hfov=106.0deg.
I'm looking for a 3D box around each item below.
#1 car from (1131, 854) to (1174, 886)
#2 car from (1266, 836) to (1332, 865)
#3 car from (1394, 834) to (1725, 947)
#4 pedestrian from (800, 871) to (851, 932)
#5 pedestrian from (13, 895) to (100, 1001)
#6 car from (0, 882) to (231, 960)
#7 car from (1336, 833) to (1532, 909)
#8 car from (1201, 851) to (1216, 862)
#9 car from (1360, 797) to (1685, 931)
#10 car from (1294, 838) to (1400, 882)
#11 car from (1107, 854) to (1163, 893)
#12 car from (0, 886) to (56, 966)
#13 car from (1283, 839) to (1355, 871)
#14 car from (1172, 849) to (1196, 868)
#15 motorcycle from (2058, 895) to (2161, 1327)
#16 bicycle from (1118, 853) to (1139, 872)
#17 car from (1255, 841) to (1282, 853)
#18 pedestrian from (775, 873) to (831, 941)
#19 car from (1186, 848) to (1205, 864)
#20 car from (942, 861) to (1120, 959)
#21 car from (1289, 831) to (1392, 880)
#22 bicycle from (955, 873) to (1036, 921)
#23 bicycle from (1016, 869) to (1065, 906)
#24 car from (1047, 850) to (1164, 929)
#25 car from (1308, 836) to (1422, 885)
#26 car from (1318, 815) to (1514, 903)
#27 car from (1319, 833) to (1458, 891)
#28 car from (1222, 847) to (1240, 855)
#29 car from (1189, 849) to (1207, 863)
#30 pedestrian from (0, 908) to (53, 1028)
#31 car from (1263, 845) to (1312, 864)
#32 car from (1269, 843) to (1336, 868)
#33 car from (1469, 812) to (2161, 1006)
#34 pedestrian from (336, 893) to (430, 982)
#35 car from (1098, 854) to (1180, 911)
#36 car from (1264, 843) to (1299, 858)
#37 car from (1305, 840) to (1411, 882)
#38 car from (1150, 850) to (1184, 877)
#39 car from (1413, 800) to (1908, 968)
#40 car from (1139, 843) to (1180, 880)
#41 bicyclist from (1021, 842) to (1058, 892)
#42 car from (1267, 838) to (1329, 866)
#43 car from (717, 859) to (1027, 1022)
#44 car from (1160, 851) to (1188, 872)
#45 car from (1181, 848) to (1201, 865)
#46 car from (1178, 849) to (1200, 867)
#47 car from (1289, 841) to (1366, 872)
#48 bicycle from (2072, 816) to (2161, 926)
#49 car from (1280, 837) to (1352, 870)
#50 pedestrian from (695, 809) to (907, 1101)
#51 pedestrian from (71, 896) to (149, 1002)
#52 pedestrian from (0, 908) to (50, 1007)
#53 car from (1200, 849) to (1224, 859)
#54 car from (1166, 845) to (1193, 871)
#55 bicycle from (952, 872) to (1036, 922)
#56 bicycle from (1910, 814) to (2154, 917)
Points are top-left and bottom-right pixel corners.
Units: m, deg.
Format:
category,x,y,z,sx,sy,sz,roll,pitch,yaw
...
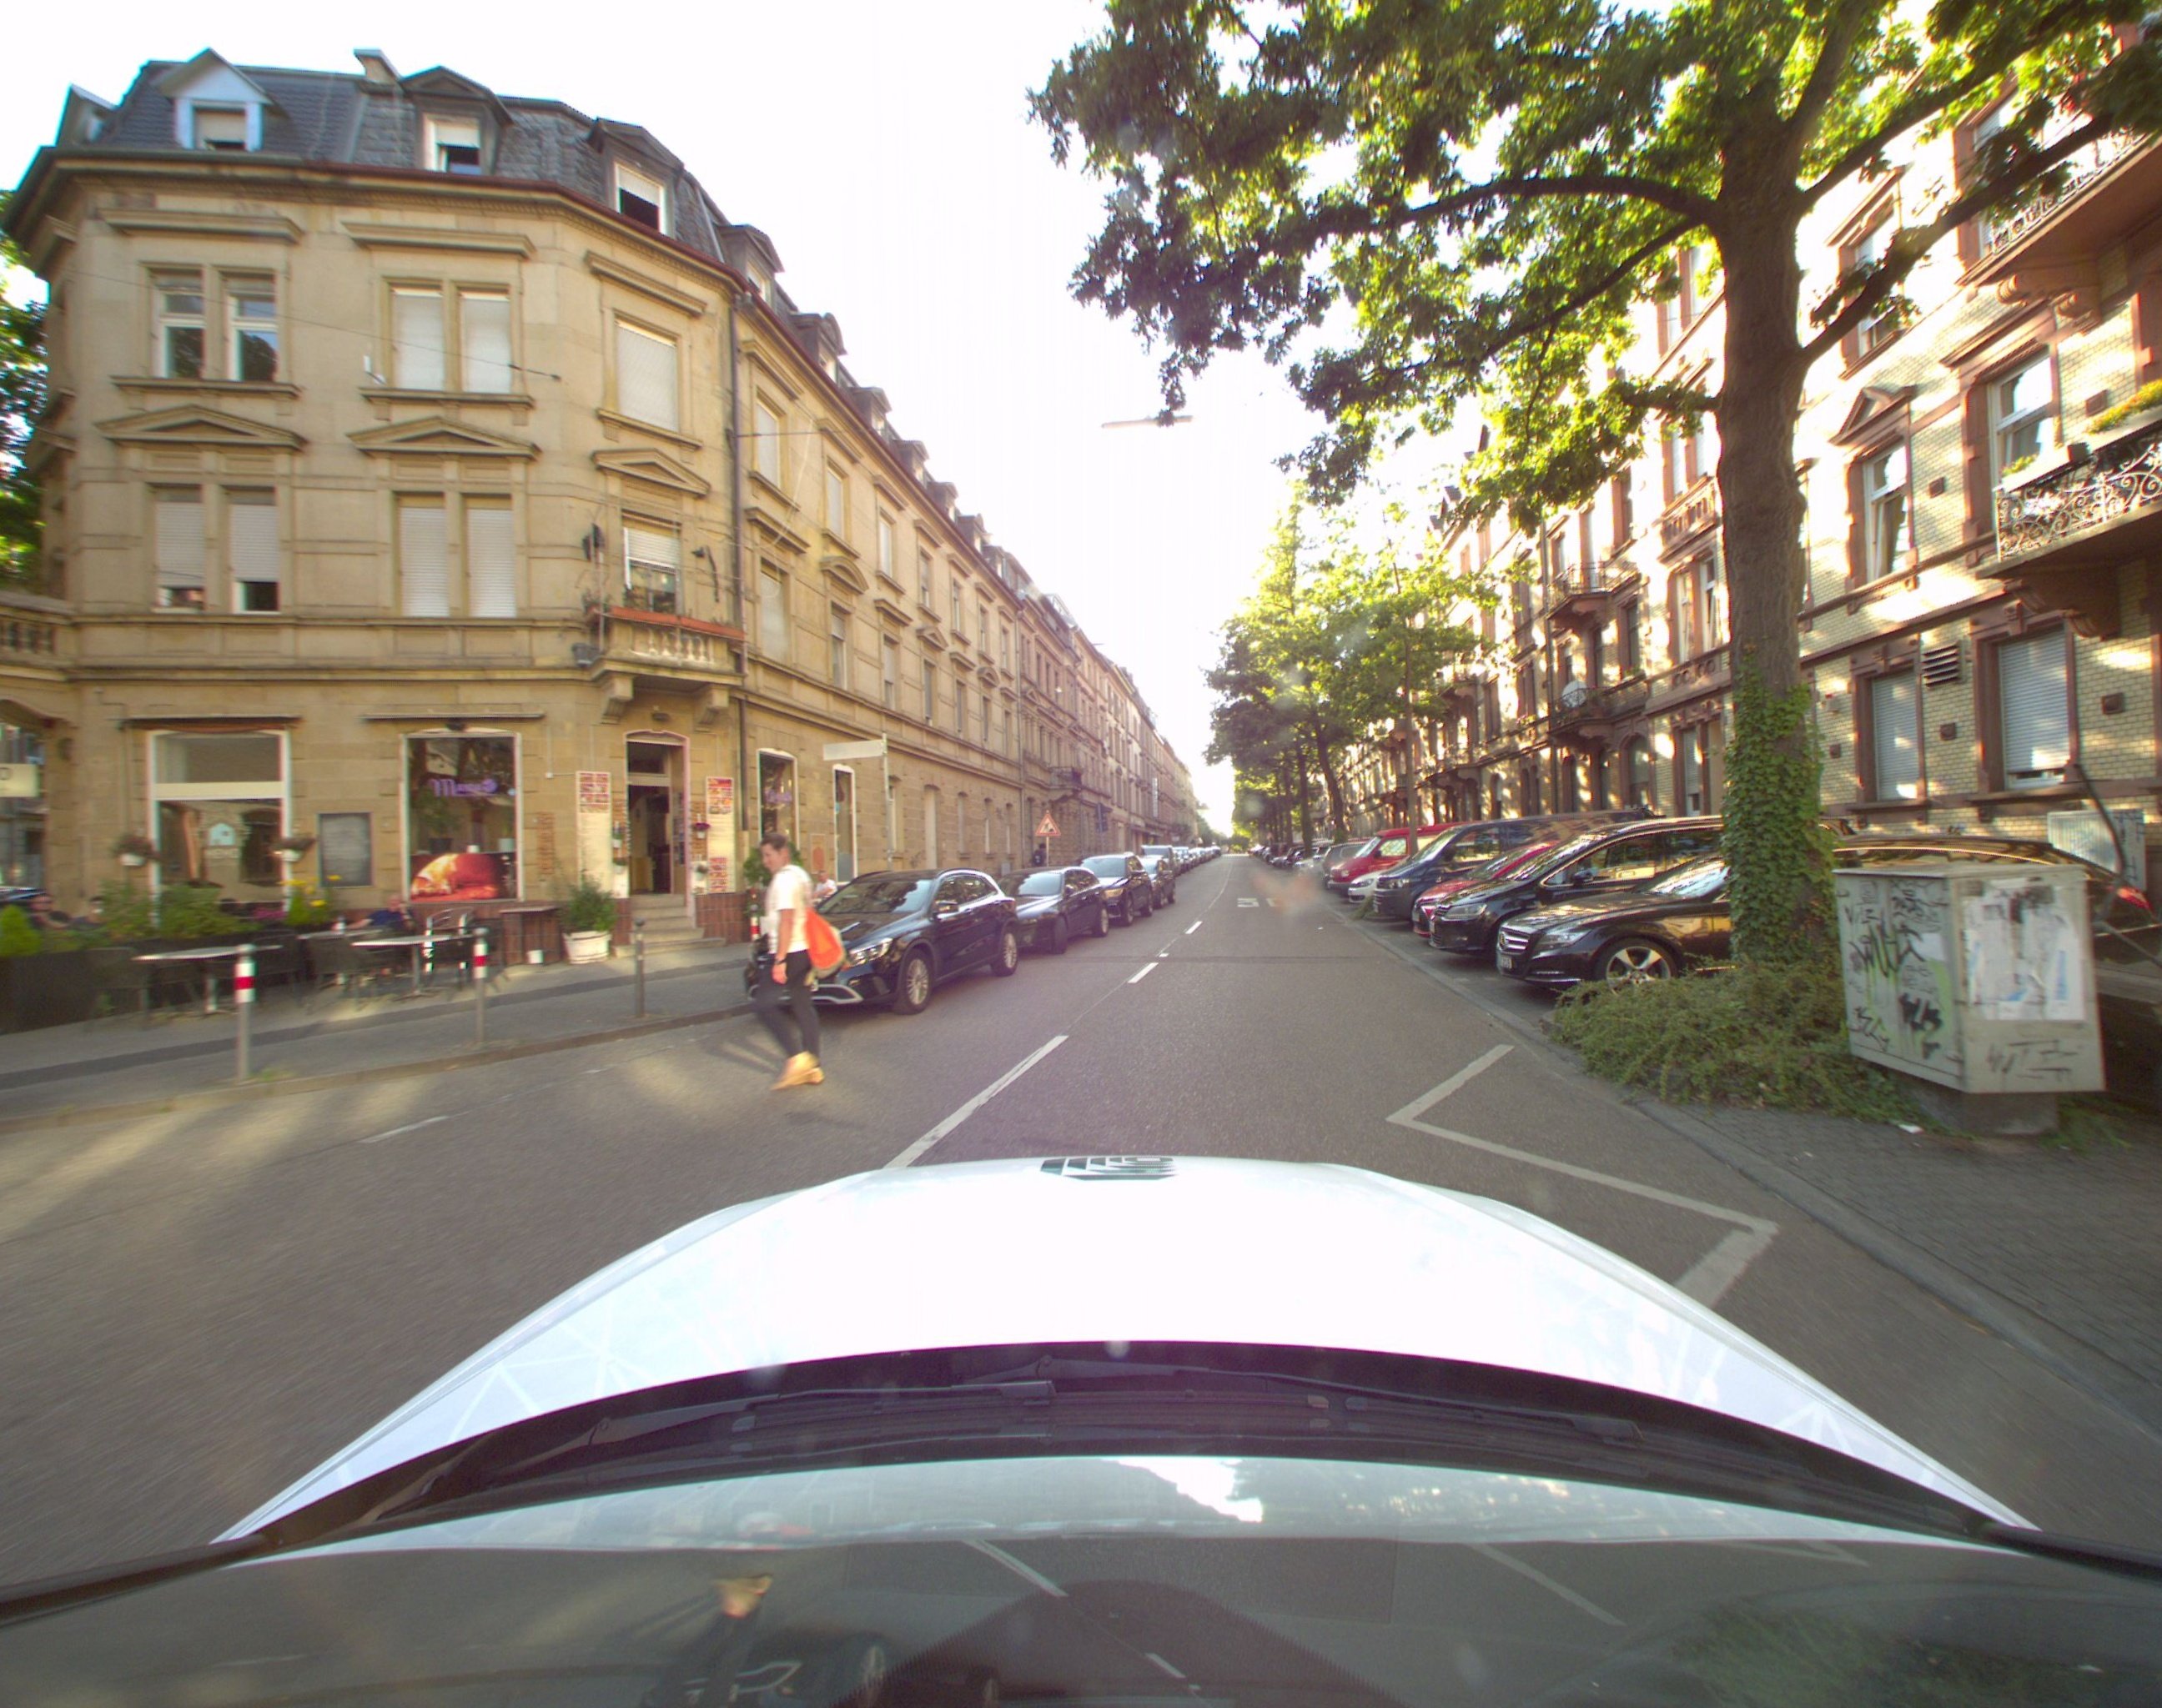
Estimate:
category,x,y,z,sx,sy,sz,roll,pitch,yaw
car,3.589,0.745,40.377,1.581,1.475,3.712,-1,0,13
car,17.784,-0.283,66.685,5.025,1.925,1.841,-4,0,10
car,7.214,0.558,12.707,4.079,1.534,1.730,-2,-1,11
pedestrian,-5.364,0.988,17.154,0.721,1.214,0.758,-2,-1,9
pedestrian,-14.600,1.318,11.614,0.566,1.431,0.482,-2,0,0
car,-25.636,1.703,21.685,1.974,1.684,4.025,-3,-1,40
car,8.551,0.421,20.076,4.028,1.510,1.884,-4,-1,10
car,19.101,0.387,121.745,1.981,1.486,4.011,-3,-2,10
car,8.102,0.214,15.449,4.990,2.215,1.998,-2,-1,10
car,12.093,0.257,37.318,4.317,1.556,1.855,-5,1,10
car,2.444,0.803,35.929,1.746,1.501,4.075,-3,0,13
car,-23.258,1.520,15.940,1.780,1.562,3.861,-3,-1,35
car,14.463,0.082,49.630,3.985,1.607,1.739,-4,-1,10
car,8.625,0.377,67.953,1.748,1.473,4.070,-3,0,10
motorcycle,3.995,0.689,2.054,1.885,1.234,0.688,-5,-1,11
bicycle,3.620,0.589,61.506,1.035,1.318,4.012,-1,0,10
car,28.368,-1.039,123.155,3.826,1.573,1.723,-4,0,10
pedestrian,-5.411,1.015,15.902,0.721,1.259,0.759,-2,-1,9
car,11.990,0.192,84.899,1.748,1.473,4.070,-3,0,10
car,-0.713,0.919,15.094,1.745,1.451,4.570,-3,-1,16
car,12.628,0.054,39.833,4.418,1.924,1.854,-5,0,8
bicycle,-2.068,1.030,19.643,1.854,1.128,0.530,-1,-1,13
bicycle,-1.482,1.242,30.543,0.989,1.158,2.934,-3,0,13
car,0.738,0.773,19.981,1.745,1.600,4.569,-3,0,15
car,11.266,0.265,32.549,3.986,1.628,1.810,-4,-1,9
car,9.254,0.144,22.840,4.649,2.033,1.883,-4,-1,7
car,10.377,0.274,27.764,4.156,1.628,1.844,-4,-1,14
car,36.657,-0.653,199.281,3.954,1.859,1.760,-1,0,19
car,12.868,0.219,89.597,1.748,1.473,4.070,-3,0,10
pedestrian,-12.250,1.279,9.021,0.740,1.289,0.743,-2,-1,1
car,17.614,0.051,69.635,3.829,1.293,1.722,-4,0,7
car,15.602,0.124,57.527,4.199,1.403,1.838,-4,0,6
car,6.546,0.525,7.810,4.752,1.413,1.858,-4,-1,13
pedestrian,-10.254,1.207,11.991,0.725,1.214,0.754,-2,-1,-8
car,1.871,0.815,24.962,1.746,1.501,4.075,-3,0,14
car,24.850,-0.455,100.970,3.834,1.573,1.719,-4,0,2
car,11.795,0.313,34.954,3.985,1.434,1.800,-5,-1,10
car,5.488,0.553,51.756,1.742,1.608,4.397,-1,0,11
car,6.828,0.407,10.261,4.651,1.679,1.859,-4,-1,16
car,4.495,0.394,46.062,1.820,1.943,5.276,-1,0,11
bicyclist,-1.528,0.486,30.554,0.989,1.789,1.212,-3,0,13
car,16.787,-0.136,63.059,4.220,1.795,1.829,-4,0,-9
car,-2.194,0.867,9.867,1.745,1.488,4.155,-3,-1,15
car,6.704,0.511,58.188,1.748,1.467,4.011,0,0,9
car,10.649,0.229,78.769,1.748,1.473,4.070,-3,0,10
car,9.816,0.311,73.957,1.748,1.473,4.070,-3,0,10
car,14.226,0.152,47.159,3.985,1.467,1.739,-4,-1,10
bicycle,11.971,0.178,8.434,0.666,1.171,2.602,-5,-1,14
car,15.092,-0.031,52.439,4.195,1.776,1.840,-4,0,9
pedestrian,-1.952,0.677,5.802,1.108,1.898,0.844,-2,-1,6
pedestrian,-13.111,1.274,11.006,0.478,1.367,0.434,-2,0,2
pedestrian,-14.292,1.375,10.874,0.478,1.248,0.435,-2,0,9
car,21.235,-0.030,132.092,1.974,1.486,4.024,-4,-2,43
car,7.668,0.281,62.976,1.748,1.842,4.542,-3,0,10
bicycle,-2.026,1.007,18.992,1.854,1.128,0.530,-1,-1,13
bicycle,12.567,0.138,10.935,0.666,1.171,2.602,-5,-1,14
